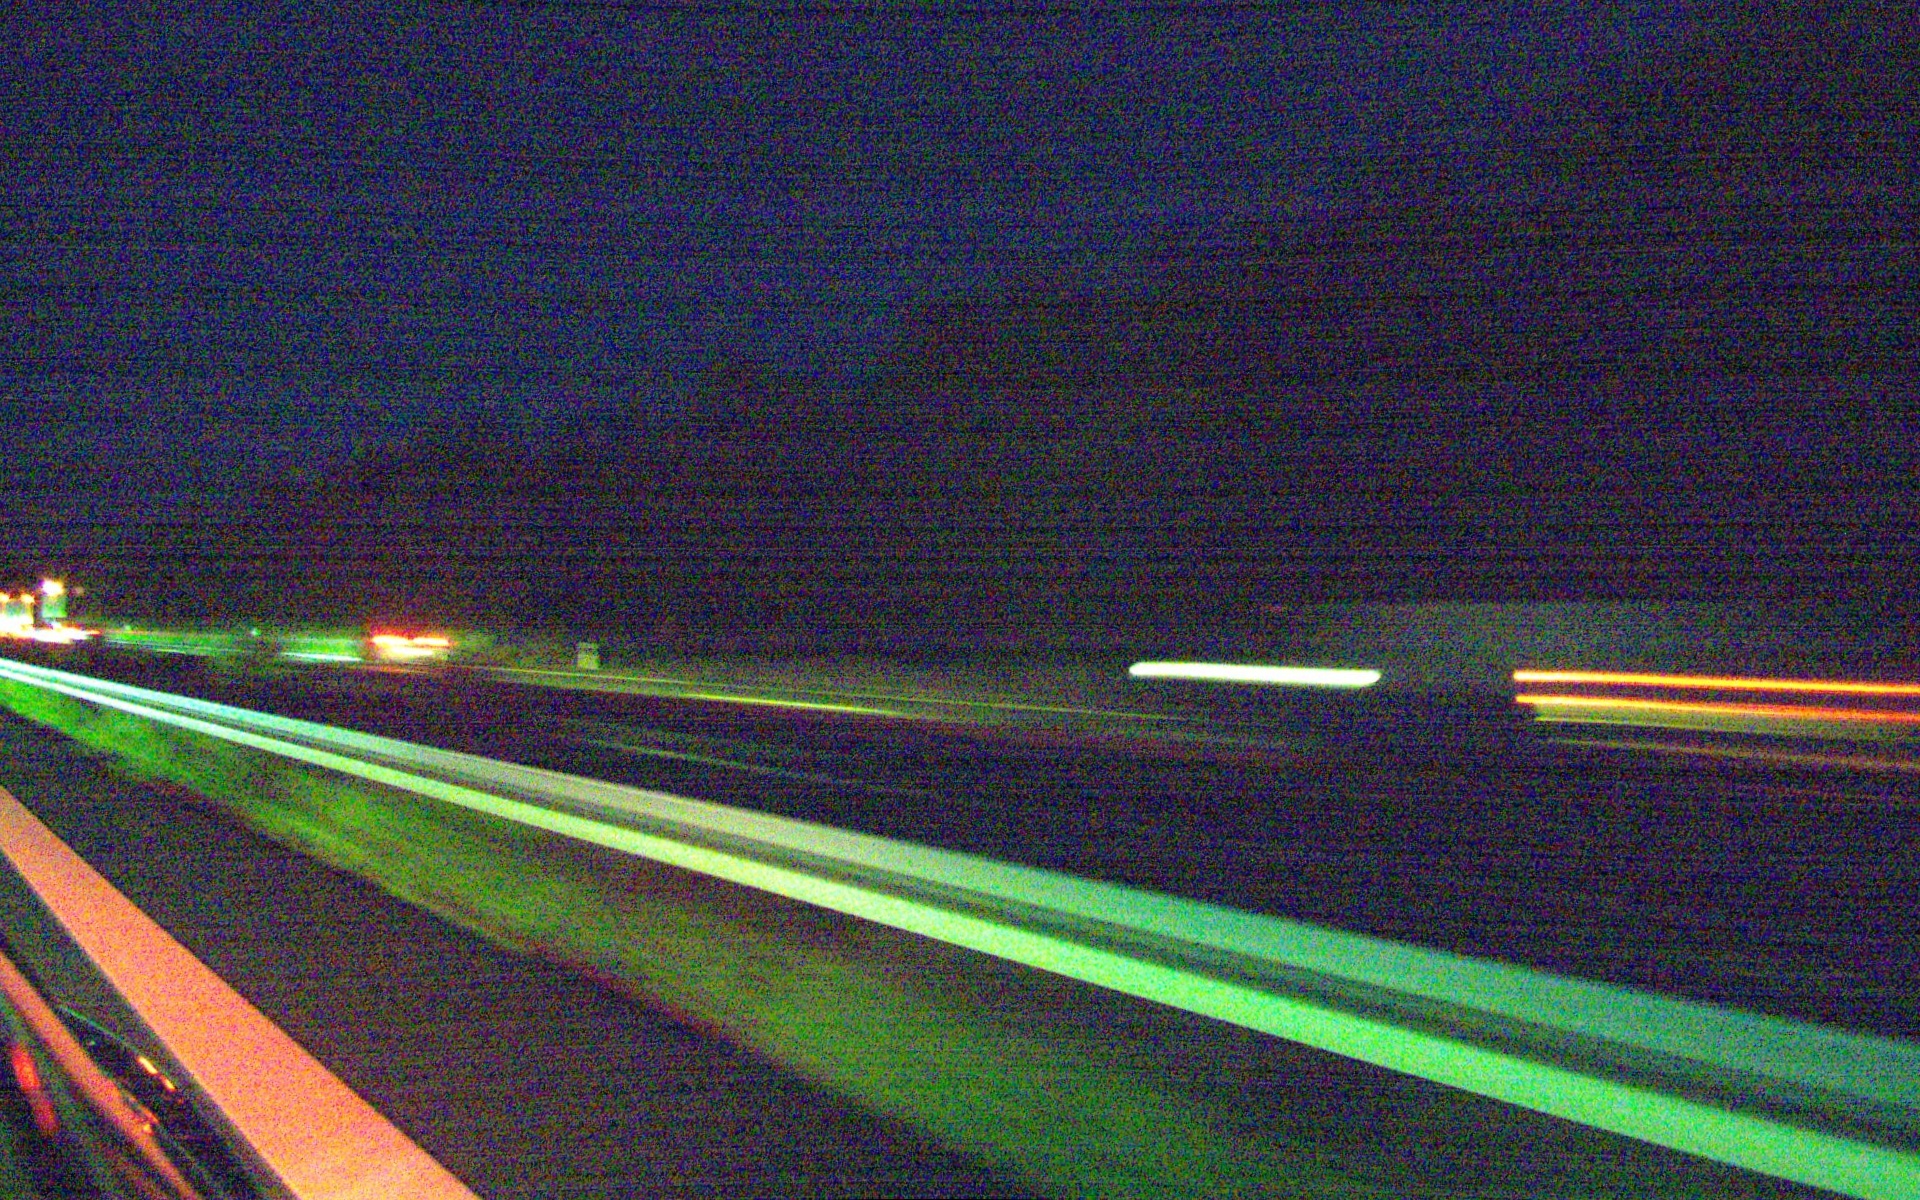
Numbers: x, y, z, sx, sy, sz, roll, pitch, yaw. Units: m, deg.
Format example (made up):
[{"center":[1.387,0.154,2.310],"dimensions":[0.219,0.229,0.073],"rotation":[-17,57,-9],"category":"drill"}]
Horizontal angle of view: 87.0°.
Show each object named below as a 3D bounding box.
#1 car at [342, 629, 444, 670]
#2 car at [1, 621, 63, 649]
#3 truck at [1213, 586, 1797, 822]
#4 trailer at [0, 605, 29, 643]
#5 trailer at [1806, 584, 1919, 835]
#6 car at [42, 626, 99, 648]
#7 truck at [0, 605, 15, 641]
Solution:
[{"center":[-22.351,1.930,39.831],"dimensions":[4.798,1.496,1.973],"rotation":[-1,-4,41],"category":"car"},{"center":[-51.457,1.935,56.092],"dimensions":[4.898,1.473,1.972],"rotation":[-1,-4,42],"category":"car"},{"center":[5.578,0.913,10.903],"dimensions":[5.238,1.957,1.972],"rotation":[-1,-2,42],"category":"truck"},{"center":[-111.314,2.726,117.622],"dimensions":[13.895,4.208,2.830],"rotation":[-1,-3,41],"category":"trailer"},{"center":[10.104,0.838,6.879],"dimensions":[6.619,1.955,1.972],"rotation":[-1,-3,42],"category":"trailer"},{"center":[-58.744,2.427,66.815],"dimensions":[5.702,1.405,1.973],"rotation":[-1,-4,41],"category":"car"},{"center":[-116.274,2.787,121.892],"dimensions":[5.822,4.244,2.725],"rotation":[-1,-3,40],"category":"truck"}]
